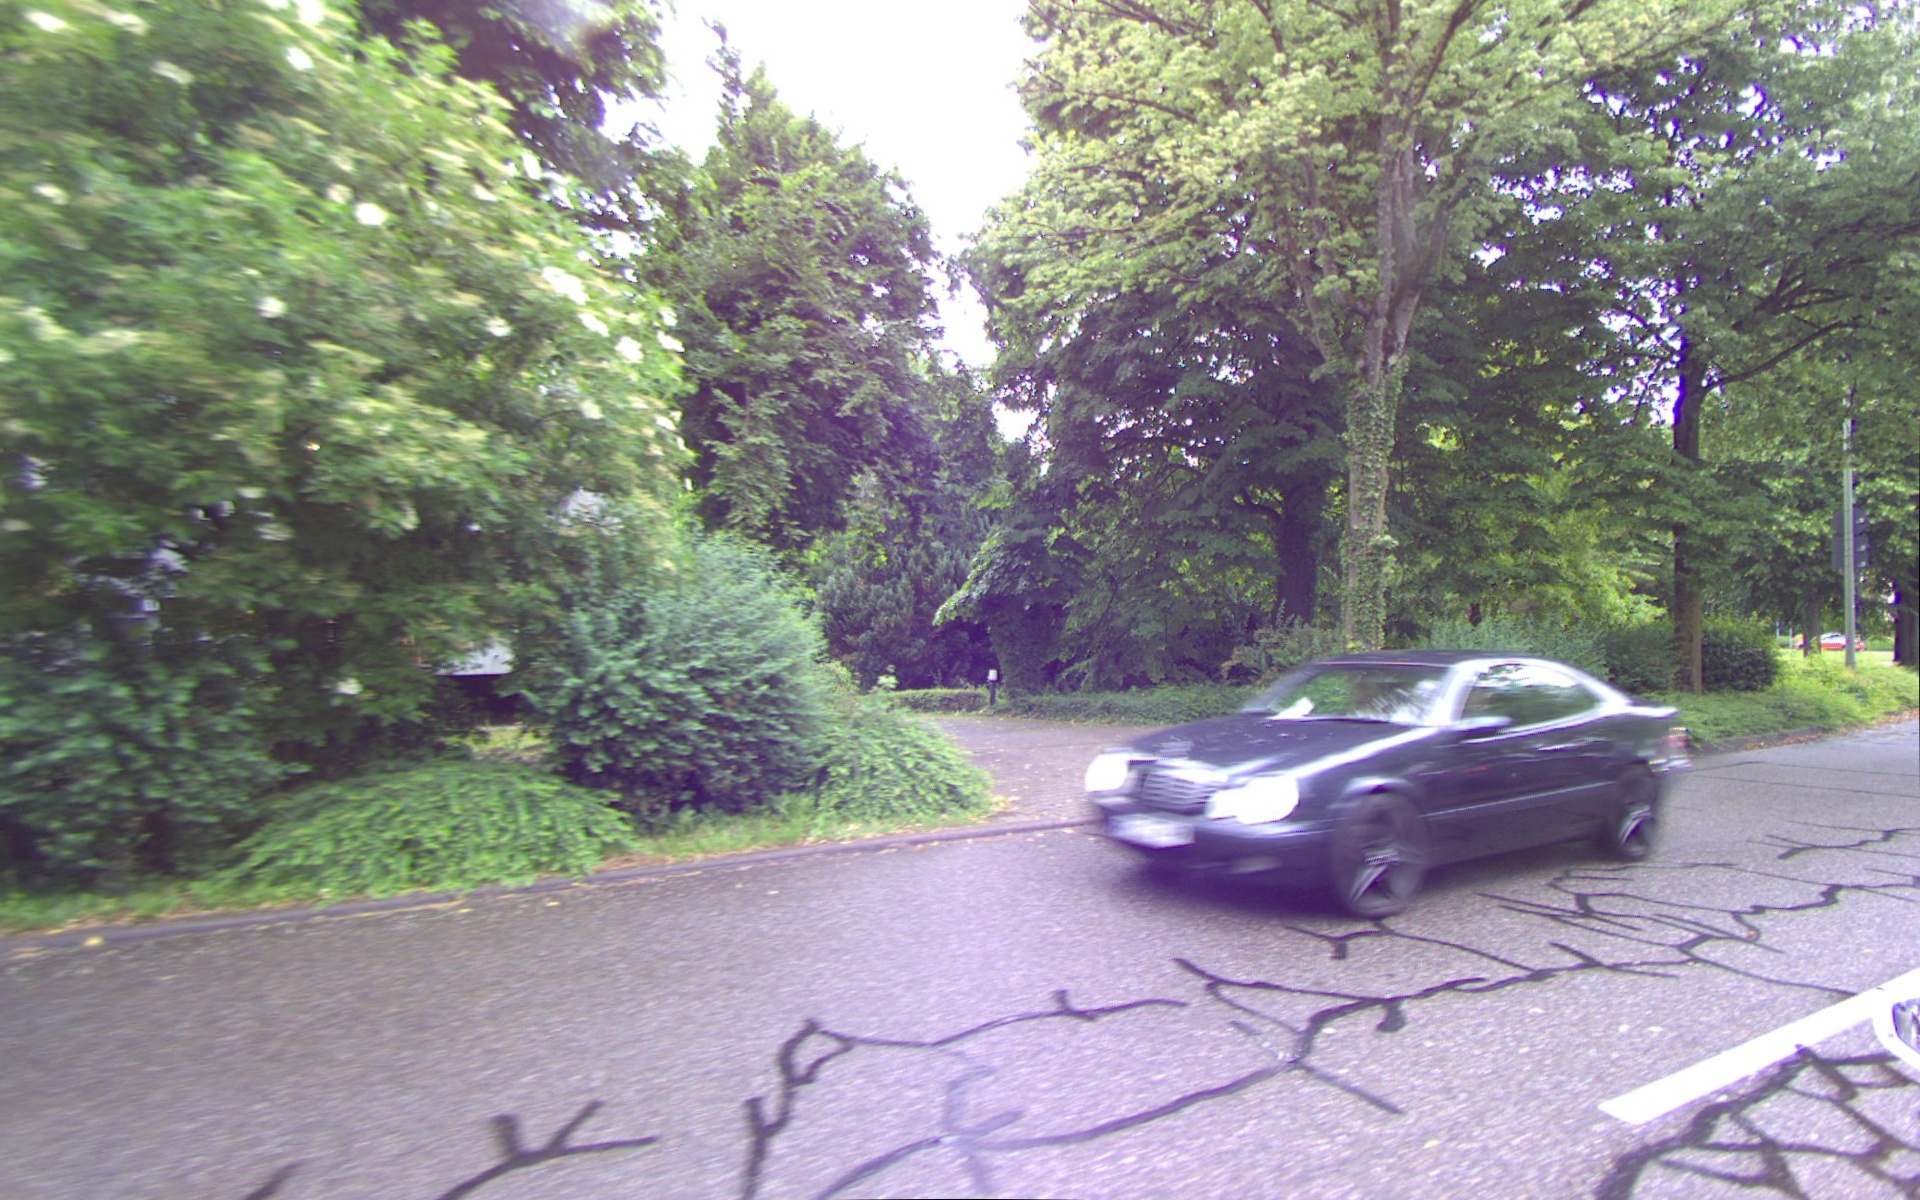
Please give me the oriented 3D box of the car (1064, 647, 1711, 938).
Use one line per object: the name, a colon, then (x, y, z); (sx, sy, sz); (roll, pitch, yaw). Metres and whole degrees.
car: (2.935, 1.007, 6.633); (4.328, 1.366, 1.756); (2, -3, -31)
